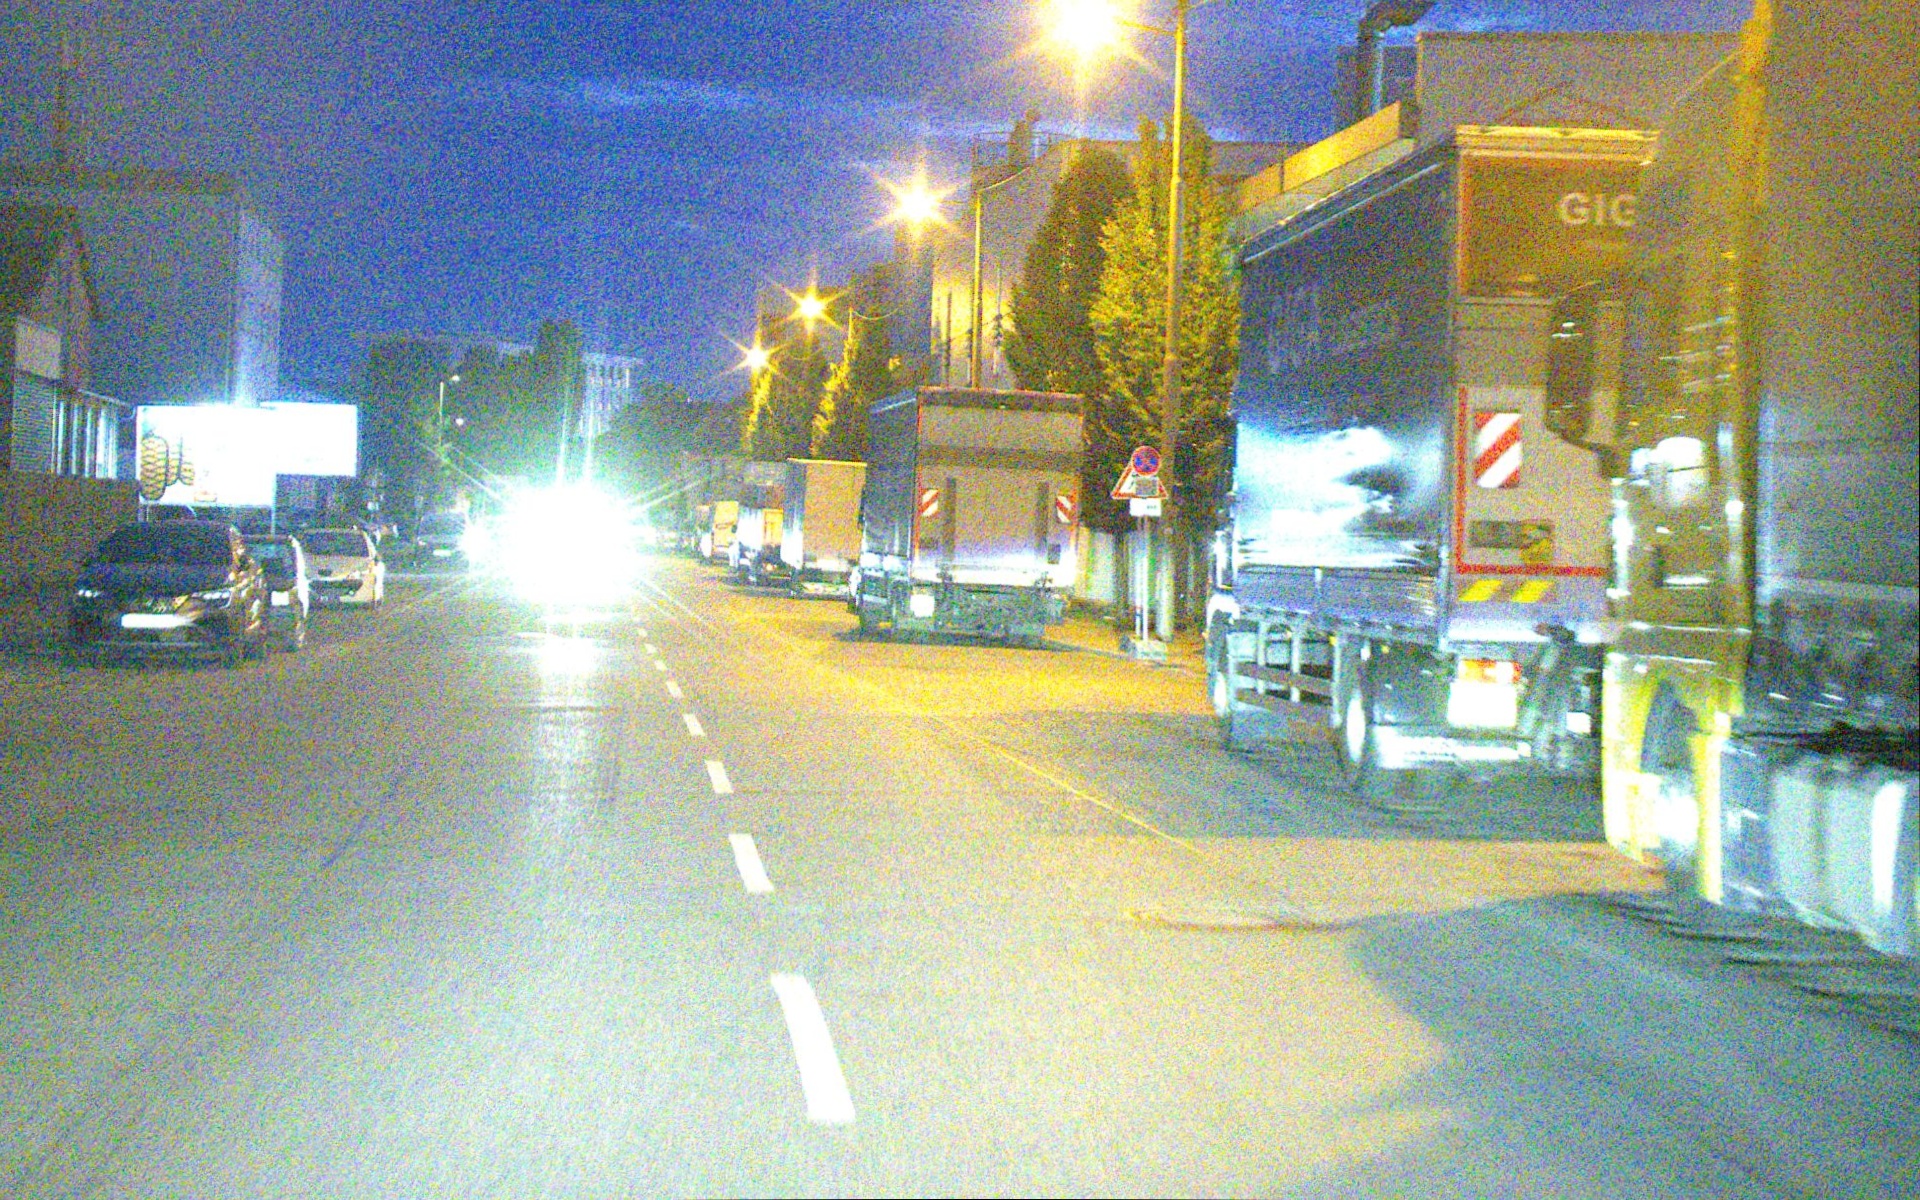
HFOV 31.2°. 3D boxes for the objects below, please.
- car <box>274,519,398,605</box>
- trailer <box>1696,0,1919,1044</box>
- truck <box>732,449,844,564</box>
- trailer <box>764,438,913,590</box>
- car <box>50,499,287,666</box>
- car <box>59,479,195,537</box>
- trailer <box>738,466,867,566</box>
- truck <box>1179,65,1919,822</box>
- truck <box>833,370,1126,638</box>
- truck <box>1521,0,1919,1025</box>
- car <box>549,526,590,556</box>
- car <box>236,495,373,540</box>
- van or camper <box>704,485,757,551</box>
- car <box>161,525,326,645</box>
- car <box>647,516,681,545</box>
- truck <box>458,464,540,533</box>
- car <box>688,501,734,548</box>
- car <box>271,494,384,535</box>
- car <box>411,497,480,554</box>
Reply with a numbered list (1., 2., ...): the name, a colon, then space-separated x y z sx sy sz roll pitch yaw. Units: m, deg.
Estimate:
1. car: -11.166 -0.707 61.721 1.841 1.415 4.001 2 1 -6
2. trailer: 4.352 -0.586 6.077 2.808 3.969 13.975 1 1 -1
3. truck: -5.464 -2.909 108.274 3.151 3.451 6.674 1 1 -6
4. trailer: -3.081 -2.102 84.925 2.686 3.452 7.811 3 1 -8
5. car: -8.607 -0.223 37.777 1.993 1.631 4.775 3 1 -7
6. car: -26.582 -2.937 109.789 3.986 1.645 2.001 2 1 -8
7. trailer: -4.735 -2.426 101.175 3.184 2.739 10.717 1 1 -6
8. truck: 3.528 -0.902 23.417 2.830 3.969 10.343 1 1 -3
9. truck: 0.112 -1.521 56.869 3.520 3.969 10.344 1 1 -7
10. truck: 4.173 -0.737 12.797 2.830 3.969 6.051 1 1 -3
11. car: -20.089 -3.053 177.157 1.993 1.393 4.001 2 1 -6
12. car: -24.723 -3.115 129.696 4.613 1.480 2.000 2 1 -28
13. van or camper: -9.495 -3.381 141.954 1.993 2.572 4.916 2 1 -5
14. car: -8.933 -0.221 43.120 1.601 1.349 4.001 2 1 -6
15. car: -18.288 -4.300 212.215 1.993 1.678 4.001 2 1 -6
16. truck: -25.597 -5.628 190.581 3.889 3.609 8.263 2 1 -11
17. car: -11.766 -3.573 162.236 1.993 2.138 4.001 2 1 -6
18. car: -25.401 -3.429 138.116 3.987 1.589 2.000 0 1 -32
19. car: -17.039 -2.476 113.919 1.993 1.787 4.001 2 1 -6
